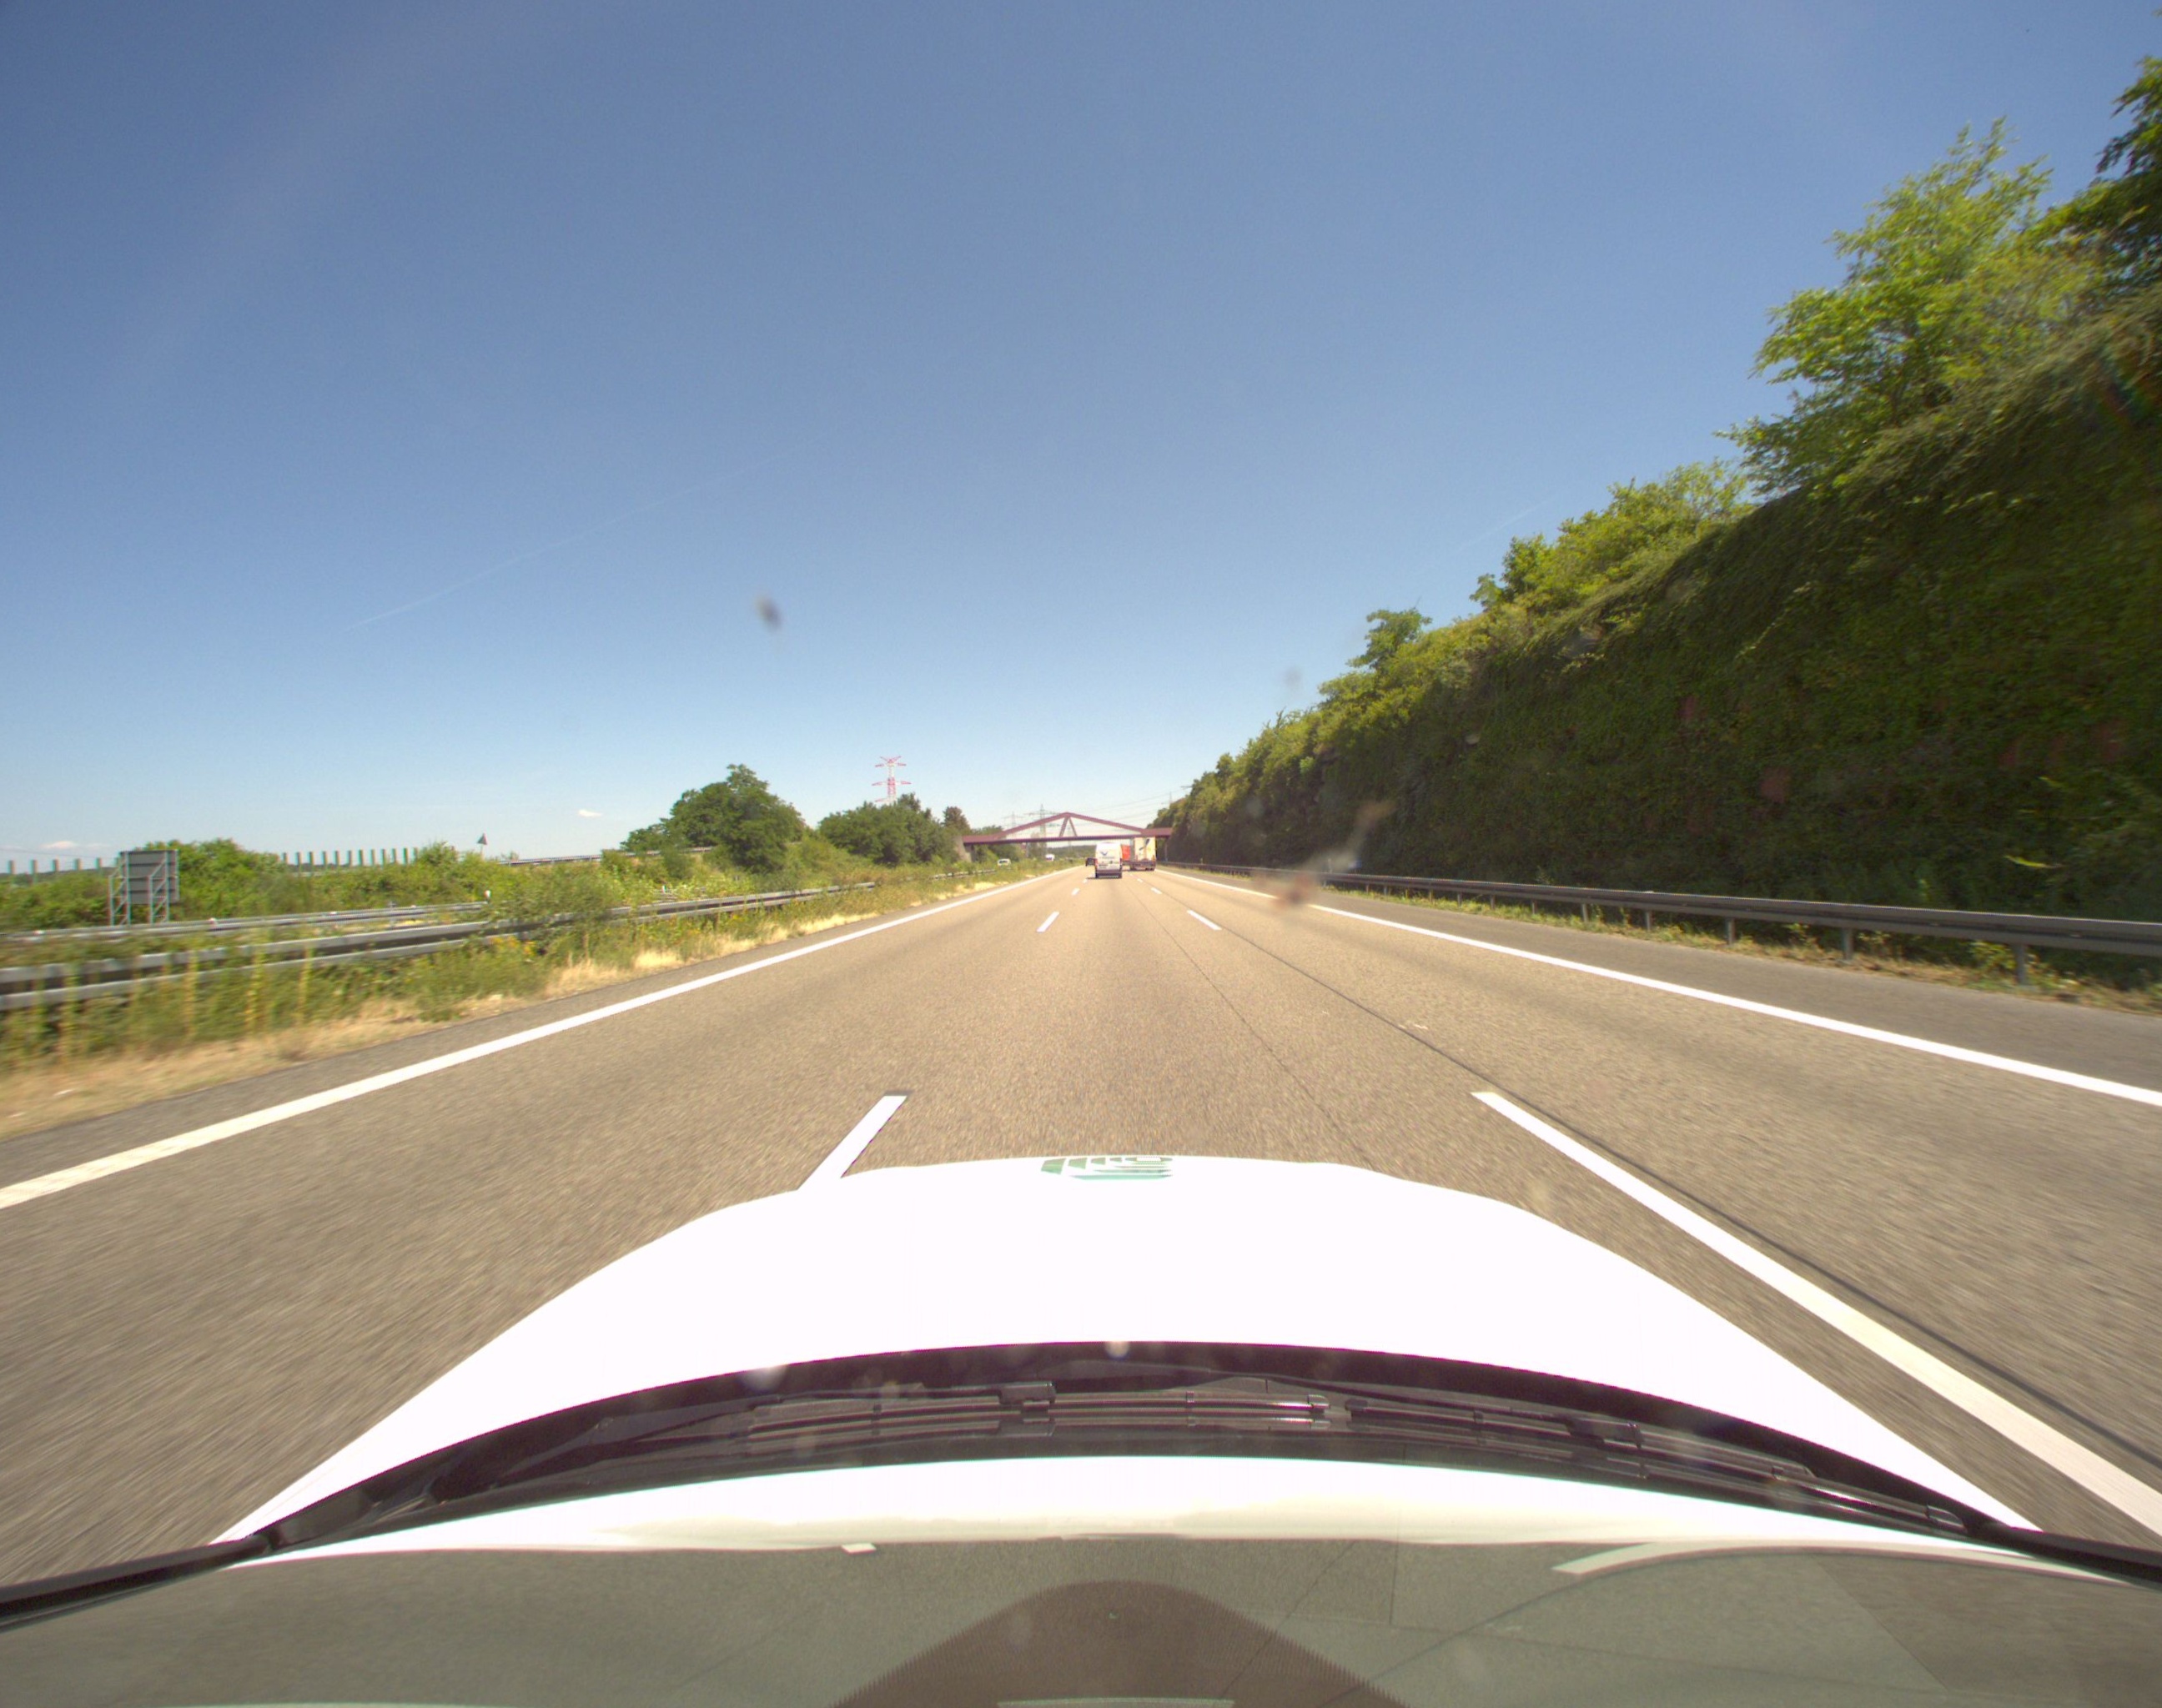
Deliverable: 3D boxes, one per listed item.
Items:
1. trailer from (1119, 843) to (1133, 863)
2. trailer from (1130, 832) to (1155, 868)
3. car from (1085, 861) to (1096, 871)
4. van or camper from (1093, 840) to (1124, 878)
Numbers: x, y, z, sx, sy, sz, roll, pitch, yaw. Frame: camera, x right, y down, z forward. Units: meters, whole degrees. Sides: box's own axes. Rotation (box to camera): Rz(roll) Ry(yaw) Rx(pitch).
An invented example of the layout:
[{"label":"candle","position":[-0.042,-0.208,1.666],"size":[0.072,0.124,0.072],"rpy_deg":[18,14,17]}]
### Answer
[{"label":"trailer","position":[8.905,-0.138,162.429],"size":[2.627,3.897,7.072],"rpy_deg":[0,0,2]},{"label":"trailer","position":[7.324,-0.412,98.366],"size":[2.627,4.060,12.372],"rpy_deg":[0,0,2]},{"label":"car","position":[1.944,2.417,164.495],"size":[1.974,1.817,3.816],"rpy_deg":[0,0,3]},{"label":"van or camper","position":[2.100,0.383,62.283],"size":[2.222,2.782,5.424],"rpy_deg":[0,0,1]}]
